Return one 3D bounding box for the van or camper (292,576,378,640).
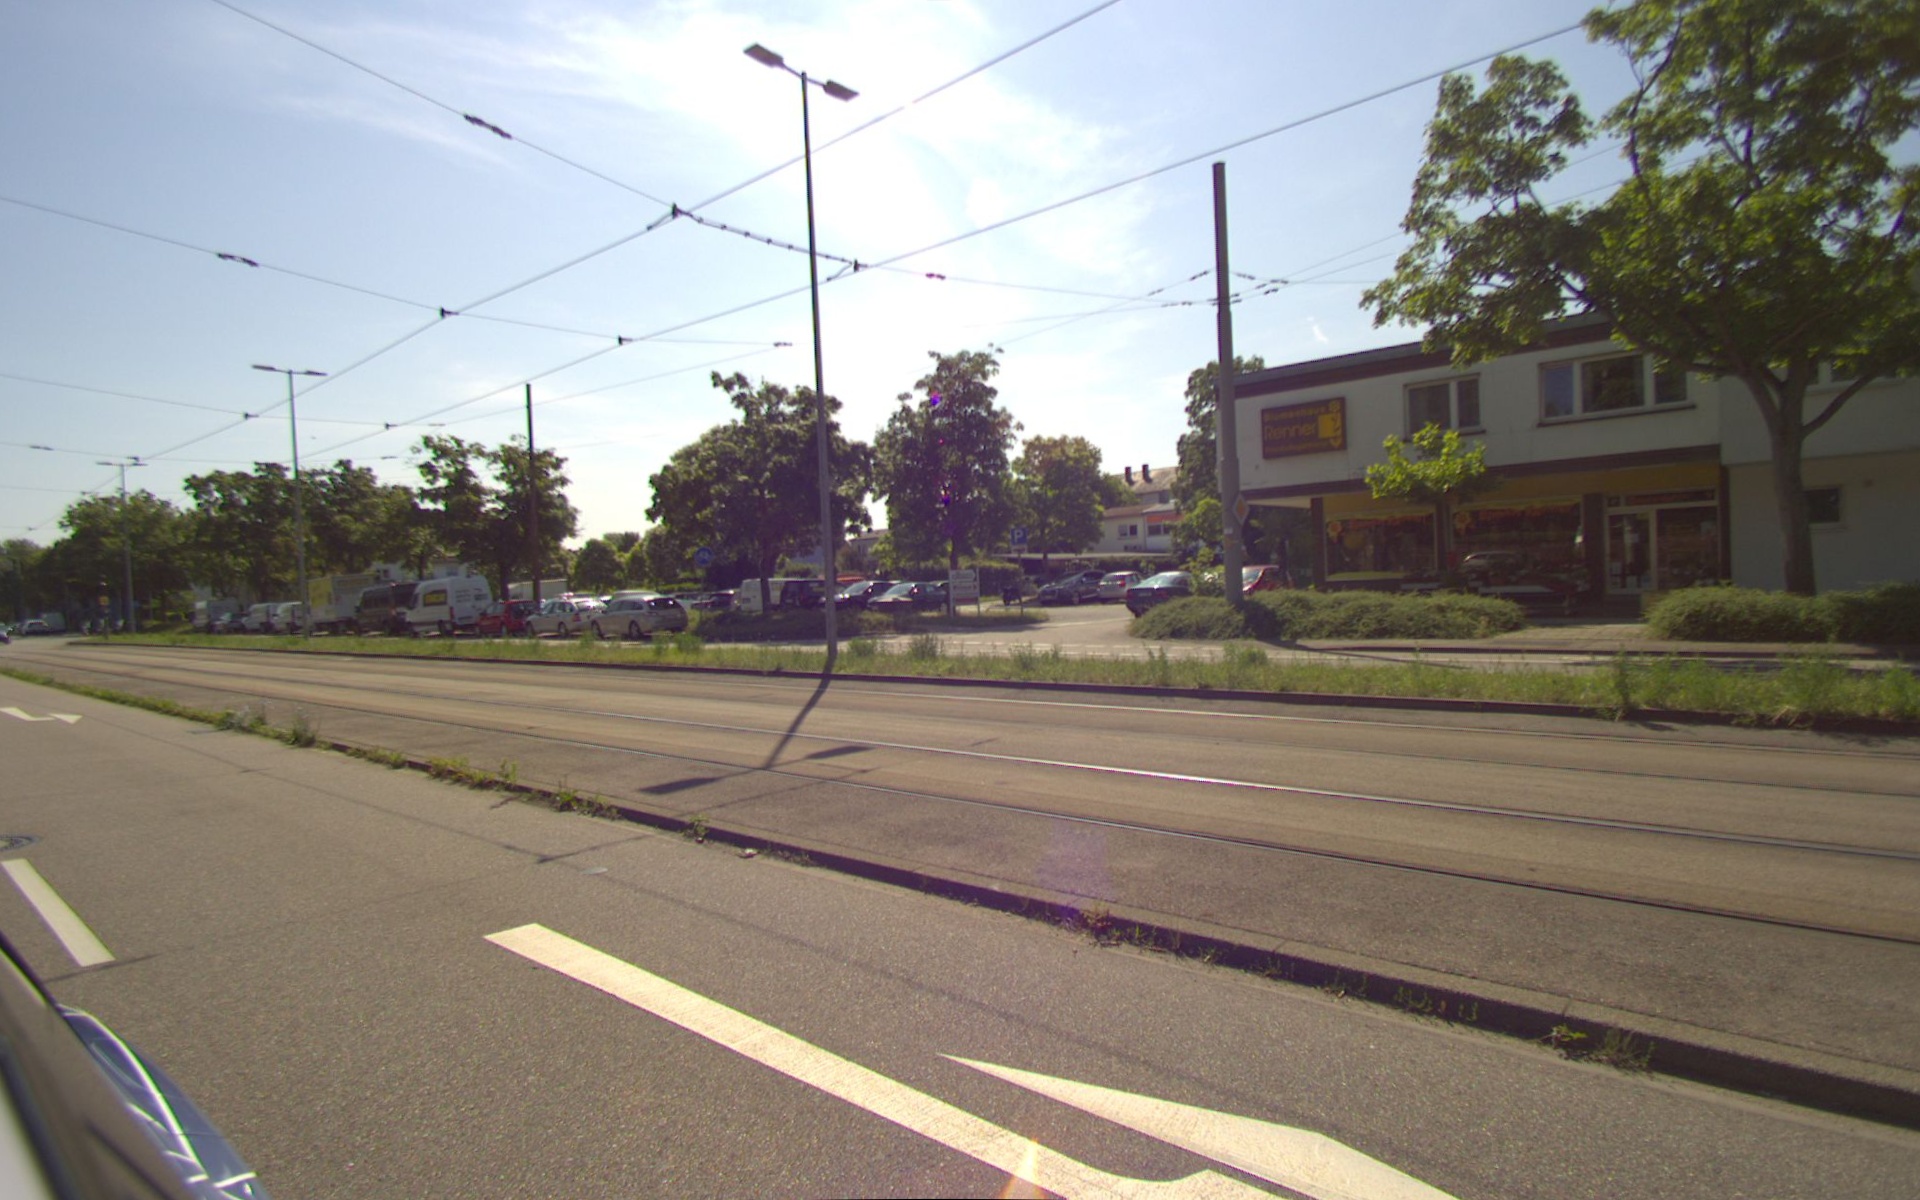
[{"bbox_3d":[-34.976,0.495,56.533,6.771,3.264,2.173,-2,3,43],"label":"van or camper"}]

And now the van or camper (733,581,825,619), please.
[{"bbox_3d":[-8.293,-0.022,46.539,1.873,1.574,3.952,-2,1,36],"label":"van or camper"}]

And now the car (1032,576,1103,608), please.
[{"bbox_3d":[5.450,-0.403,50.864,1.674,1.435,3.934,-2,1,38],"label":"car"}]

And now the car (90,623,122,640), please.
[{"bbox_3d":[-85.736,3.166,101.582,4.238,1.624,1.658,-2,0,40],"label":"car"}]

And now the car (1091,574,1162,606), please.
[{"bbox_3d":[8.231,-0.513,49.783,1.674,1.435,3.933,-2,1,39],"label":"car"}]

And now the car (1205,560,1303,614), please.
[{"bbox_3d":[10.544,-0.480,36.111,1.697,1.748,4.104,-2,1,42],"label":"car"}]

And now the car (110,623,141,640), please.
[{"bbox_3d":[-77.917,2.991,94.475,4.082,1.461,1.598,-2,1,43],"label":"car"}]

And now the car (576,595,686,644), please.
[{"bbox_3d":[-11.689,0.714,35.836,4.617,1.501,1.587,-2,3,43],"label":"car"}]

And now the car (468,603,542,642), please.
[{"bbox_3d":[-19.056,0.937,42.307,3.673,1.501,1.279,-2,1,40],"label":"car"}]

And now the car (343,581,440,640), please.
[{"bbox_3d":[-28.577,0.545,50.754,6.076,2.688,2.174,-2,3,41],"label":"car"}]

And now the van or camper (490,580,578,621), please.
[{"bbox_3d":[-38.536,0.039,91.722,2.579,3.268,6.883,-2,2,39],"label":"van or camper"}]

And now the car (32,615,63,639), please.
[{"bbox_3d":[-114.005,3.347,126.469,6.084,2.670,1.991,-2,4,42],"label":"car"}]

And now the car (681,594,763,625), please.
[{"bbox_3d":[-11.885,0.461,50.690,1.487,1.381,3.950,-2,1,37],"label":"car"}]

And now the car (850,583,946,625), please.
[{"bbox_3d":[-2.469,0.138,41.351,1.662,1.574,3.948,-2,1,39],"label":"car"}]

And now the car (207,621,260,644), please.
[{"bbox_3d":[-50.771,2.273,70.709,4.883,1.465,1.912,-2,2,41],"label":"car"}]

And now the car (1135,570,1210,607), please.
[{"bbox_3d":[10.045,-0.567,47.667,1.908,1.545,3.949,-2,1,38],"label":"car"}]

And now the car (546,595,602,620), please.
[{"bbox_3d":[-32.069,0.626,84.245,1.783,1.905,3.950,-2,1,38],"label":"car"}]

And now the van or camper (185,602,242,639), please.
[{"bbox_3d":[-55.355,1.553,74.990,6.147,2.533,2.233,-2,0,43],"label":"van or camper"}]

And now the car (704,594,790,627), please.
[{"bbox_3d":[-10.053,0.487,47.987,1.487,1.381,3.950,-2,1,37],"label":"car"}]

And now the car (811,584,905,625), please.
[{"bbox_3d":[-4.276,0.187,42.948,1.662,1.574,3.948,-2,1,39],"label":"car"}]

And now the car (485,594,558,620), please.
[{"bbox_3d":[-28.357,0.440,65.545,1.662,1.555,3.946,-2,1,41],"label":"car"}]

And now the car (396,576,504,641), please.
[{"bbox_3d":[-23.277,0.428,46.053,5.977,2.650,2.173,-2,3,42],"label":"car"}]

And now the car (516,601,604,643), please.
[{"bbox_3d":[-15.555,0.865,39.248,4.349,1.501,1.278,-1,1,42],"label":"car"}]

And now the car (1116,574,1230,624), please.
[{"bbox_3d":[6.804,-0.057,32.053,1.697,1.354,4.104,-2,1,42],"label":"car"}]

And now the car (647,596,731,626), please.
[{"bbox_3d":[-13.905,0.546,52.049,1.658,1.381,3.949,-2,1,38],"label":"car"}]

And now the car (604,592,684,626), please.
[{"bbox_3d":[-17.511,0.503,56.181,1.662,1.707,3.946,-2,1,41],"label":"car"}]

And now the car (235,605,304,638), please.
[{"bbox_3d":[-45.585,1.420,66.753,5.176,1.955,2.176,-2,2,38],"label":"car"}]

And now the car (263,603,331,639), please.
[{"bbox_3d":[-40.917,1.319,62.414,5.184,1.955,2.173,-2,3,43],"label":"car"}]

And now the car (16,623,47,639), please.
[{"bbox_3d":[-94.573,3.157,103.065,4.661,1.609,2.020,-2,-1,44],"label":"car"}]

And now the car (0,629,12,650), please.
[{"bbox_3d":[-66.185,2.728,69.003,3.999,1.342,1.908,-2,1,42],"label":"car"}]

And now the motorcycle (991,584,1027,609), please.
[{"bbox_3d":[2.674,-0.208,54.525,0.734,1.243,2.104,-2,1,42],"label":"motorcycle"}]

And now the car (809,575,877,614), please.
[{"bbox_3d":[-7.249,-0.352,62.949,1.908,2.216,3.950,-2,1,38],"label":"car"}]

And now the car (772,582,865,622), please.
[{"bbox_3d":[-6.220,0.074,44.838,1.662,1.574,3.948,-2,1,39],"label":"car"}]

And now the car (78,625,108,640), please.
[{"bbox_3d":[-90.771,3.428,105.954,4.453,1.446,1.658,-2,1,40],"label":"car"}]
